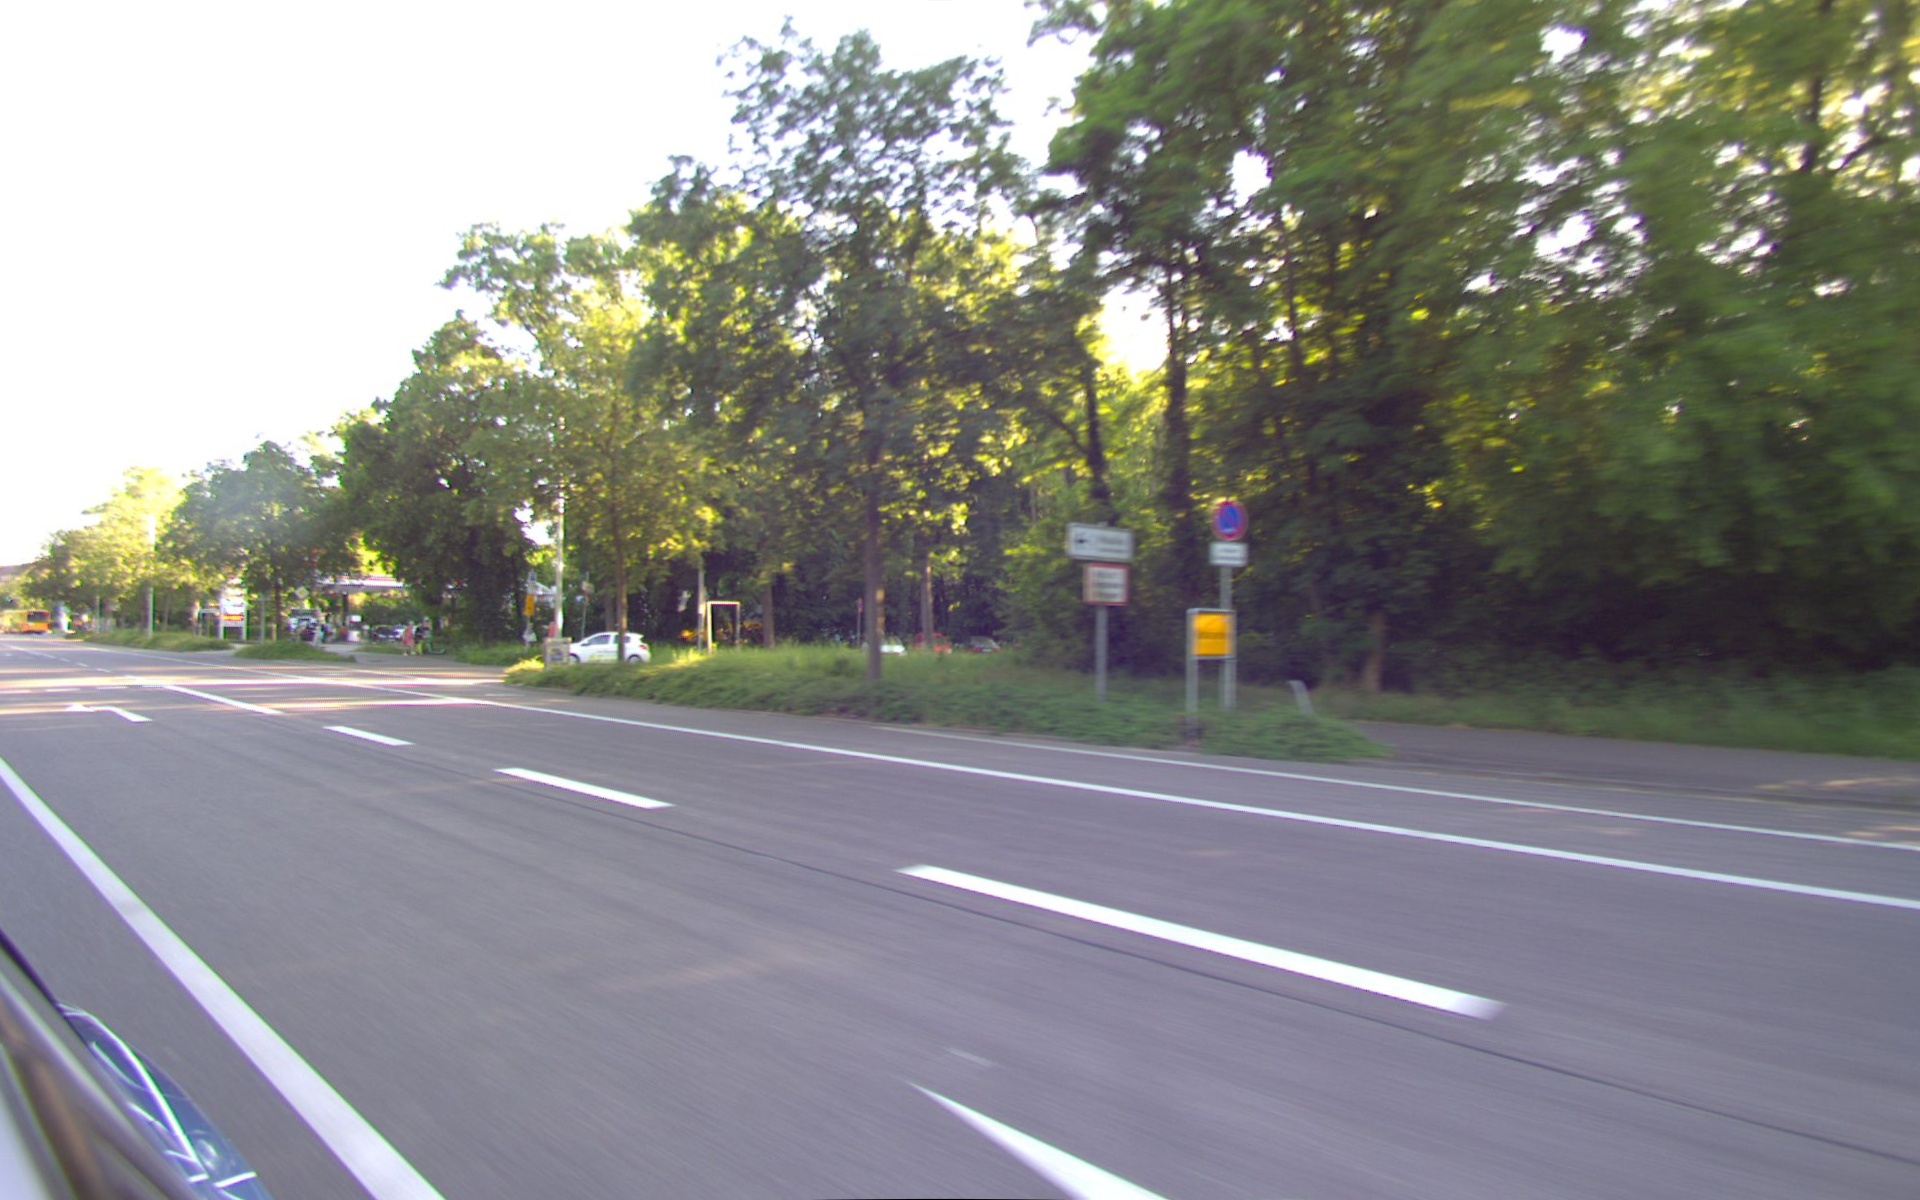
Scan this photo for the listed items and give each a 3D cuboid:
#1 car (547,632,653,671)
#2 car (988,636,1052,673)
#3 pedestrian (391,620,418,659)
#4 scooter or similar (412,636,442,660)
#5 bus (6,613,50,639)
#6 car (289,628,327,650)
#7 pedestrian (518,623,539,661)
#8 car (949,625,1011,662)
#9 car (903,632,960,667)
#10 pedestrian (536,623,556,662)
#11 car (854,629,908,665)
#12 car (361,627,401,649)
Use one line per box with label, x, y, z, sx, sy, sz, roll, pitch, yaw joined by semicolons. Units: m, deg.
car;-14.663;2.104;41.428;3.877;1.537;1.836;1;-2;-14
car;2.978;2.717;50.951;1.800;1.666;4.304;4;-3;-16
pedestrian;-26.449;1.864;48.201;0.825;1.833;0.735;0;-2;6
scooter or similar;-26.123;2.348;49.620;1.333;1.140;0.462;0;-2;18
bus;-128.563;3.611;139.595;9.469;3.434;3.000;-1;-3;39
car;-50.950;3.019;79.091;1.734;1.653;3.614;3;-3;-45
pedestrian;-20.893;2.042;49.044;0.820;1.833;0.738;1;-2;-17
car;0.949;2.121;50.130;1.800;1.666;4.304;4;-3;-16
car;-1.468;2.446;50.285;1.800;1.666;4.304;1;-2;-16
pedestrian;-19.833;2.023;48.505;0.820;1.833;0.738;1;-2;-17
car;-3.901;2.269;49.511;1.800;1.666;4.304;1;-2;-16
car;-45.001;2.934;78.578;1.734;1.653;3.839;3;-3;-45
